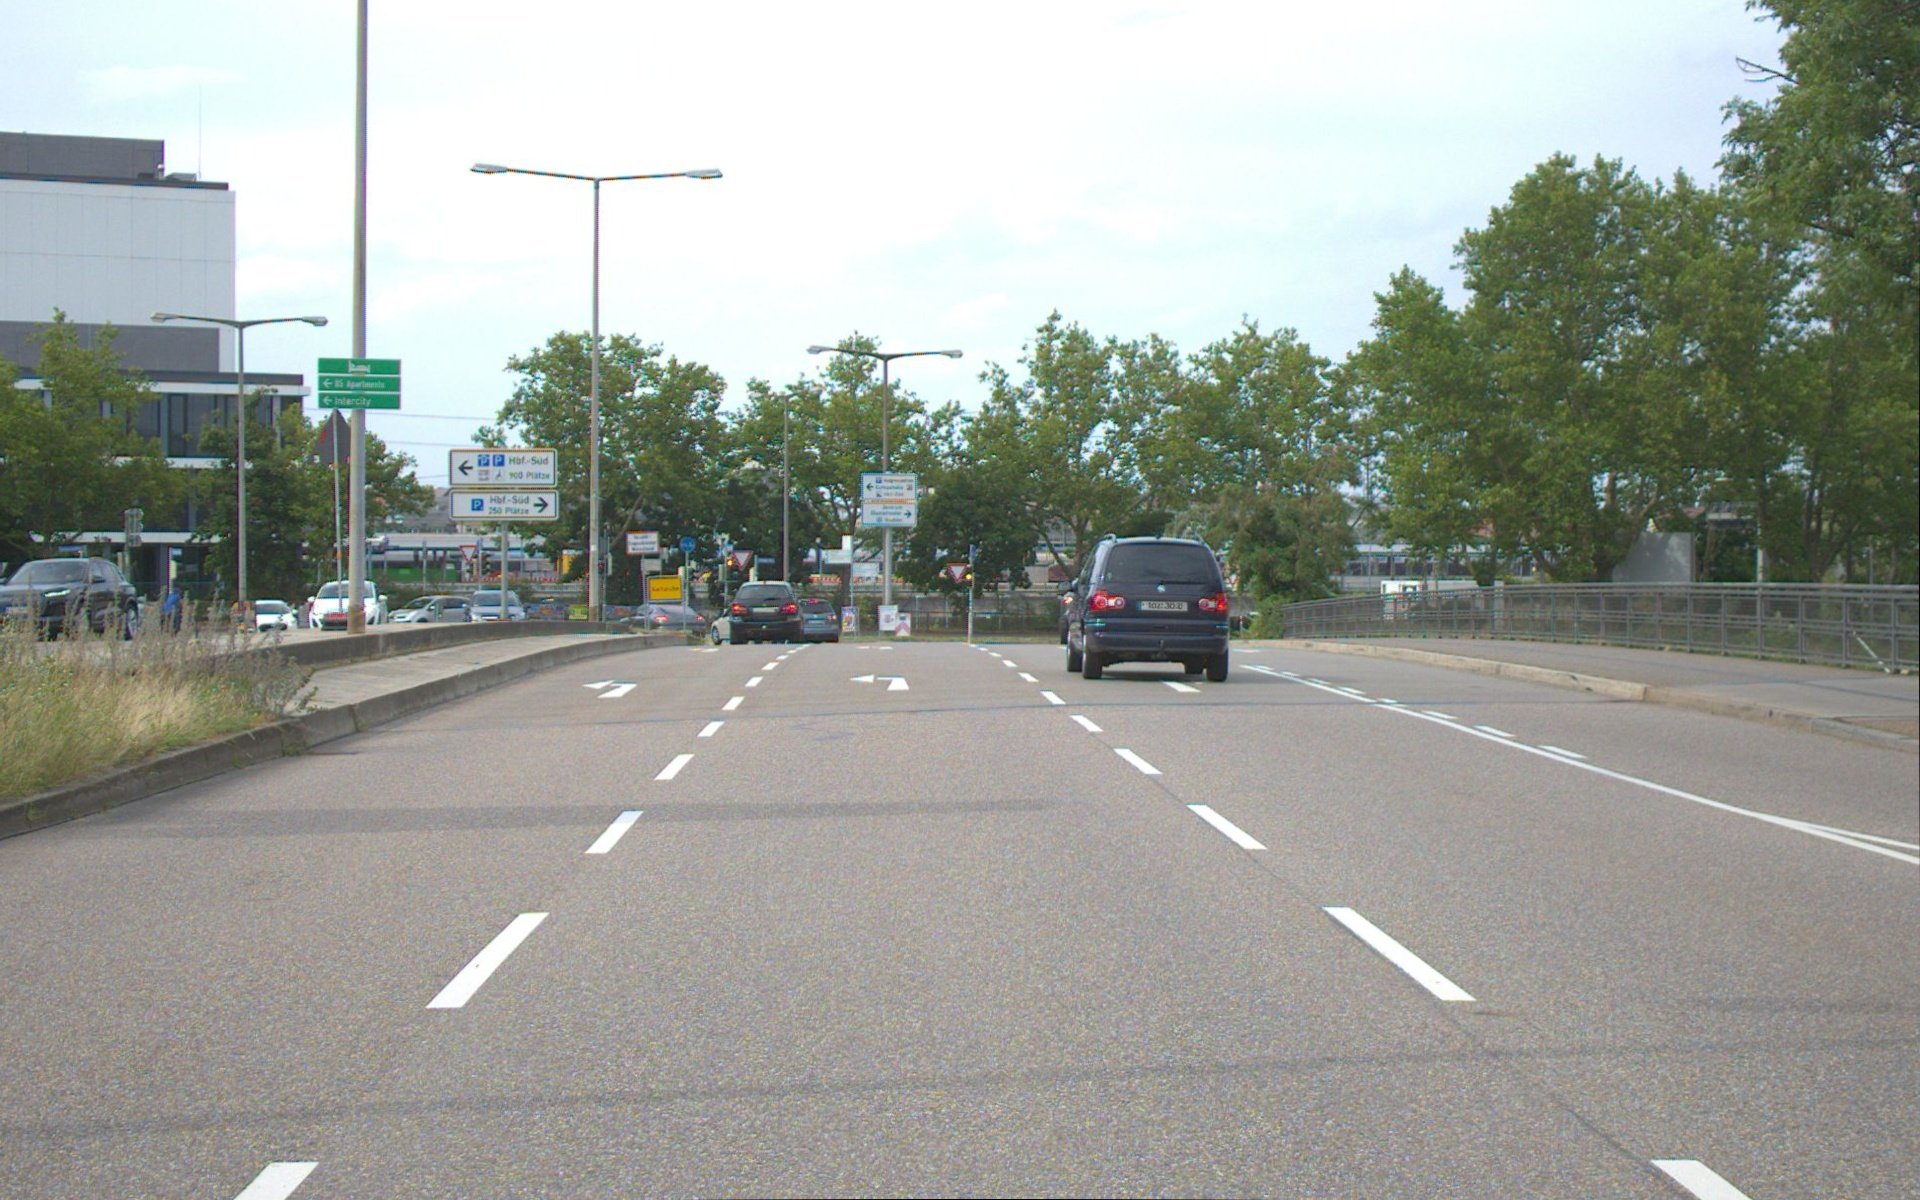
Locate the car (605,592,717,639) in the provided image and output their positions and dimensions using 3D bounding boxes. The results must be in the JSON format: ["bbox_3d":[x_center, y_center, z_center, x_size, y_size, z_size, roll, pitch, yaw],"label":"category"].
[{"bbox_3d":[-10.062,0.522,115.611,3.630,1.414,1.732,3,2,42],"label":"car"}]

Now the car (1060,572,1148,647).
[{"bbox_3d":[3.460,0.203,83.504,1.730,1.647,4.116,1,2,-3],"label":"car"}]

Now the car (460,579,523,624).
[{"bbox_3d":[-13.520,0.037,99.077,1.502,1.210,4.085,-1,1,-11],"label":"car"}]

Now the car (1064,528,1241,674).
[{"bbox_3d":[2.333,-0.031,42.601,1.730,1.647,4.116,1,2,-3],"label":"car"}]

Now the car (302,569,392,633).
[{"bbox_3d":[-15.150,-0.003,85.126,1.736,1.477,4.084,-1,1,-4],"label":"car"}]

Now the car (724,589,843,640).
[{"bbox_3d":[-5.825,0.461,113.138,1.731,1.521,4.113,0,2,-41],"label":"car"}]

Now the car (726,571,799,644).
[{"bbox_3d":[-4.925,0.171,86.084,1.730,1.647,4.116,1,2,-3],"label":"car"}]

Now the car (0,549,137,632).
[{"bbox_3d":[-17.373,-0.199,66.668,1.921,1.519,4.189,-1,1,-2],"label":"car"}]
